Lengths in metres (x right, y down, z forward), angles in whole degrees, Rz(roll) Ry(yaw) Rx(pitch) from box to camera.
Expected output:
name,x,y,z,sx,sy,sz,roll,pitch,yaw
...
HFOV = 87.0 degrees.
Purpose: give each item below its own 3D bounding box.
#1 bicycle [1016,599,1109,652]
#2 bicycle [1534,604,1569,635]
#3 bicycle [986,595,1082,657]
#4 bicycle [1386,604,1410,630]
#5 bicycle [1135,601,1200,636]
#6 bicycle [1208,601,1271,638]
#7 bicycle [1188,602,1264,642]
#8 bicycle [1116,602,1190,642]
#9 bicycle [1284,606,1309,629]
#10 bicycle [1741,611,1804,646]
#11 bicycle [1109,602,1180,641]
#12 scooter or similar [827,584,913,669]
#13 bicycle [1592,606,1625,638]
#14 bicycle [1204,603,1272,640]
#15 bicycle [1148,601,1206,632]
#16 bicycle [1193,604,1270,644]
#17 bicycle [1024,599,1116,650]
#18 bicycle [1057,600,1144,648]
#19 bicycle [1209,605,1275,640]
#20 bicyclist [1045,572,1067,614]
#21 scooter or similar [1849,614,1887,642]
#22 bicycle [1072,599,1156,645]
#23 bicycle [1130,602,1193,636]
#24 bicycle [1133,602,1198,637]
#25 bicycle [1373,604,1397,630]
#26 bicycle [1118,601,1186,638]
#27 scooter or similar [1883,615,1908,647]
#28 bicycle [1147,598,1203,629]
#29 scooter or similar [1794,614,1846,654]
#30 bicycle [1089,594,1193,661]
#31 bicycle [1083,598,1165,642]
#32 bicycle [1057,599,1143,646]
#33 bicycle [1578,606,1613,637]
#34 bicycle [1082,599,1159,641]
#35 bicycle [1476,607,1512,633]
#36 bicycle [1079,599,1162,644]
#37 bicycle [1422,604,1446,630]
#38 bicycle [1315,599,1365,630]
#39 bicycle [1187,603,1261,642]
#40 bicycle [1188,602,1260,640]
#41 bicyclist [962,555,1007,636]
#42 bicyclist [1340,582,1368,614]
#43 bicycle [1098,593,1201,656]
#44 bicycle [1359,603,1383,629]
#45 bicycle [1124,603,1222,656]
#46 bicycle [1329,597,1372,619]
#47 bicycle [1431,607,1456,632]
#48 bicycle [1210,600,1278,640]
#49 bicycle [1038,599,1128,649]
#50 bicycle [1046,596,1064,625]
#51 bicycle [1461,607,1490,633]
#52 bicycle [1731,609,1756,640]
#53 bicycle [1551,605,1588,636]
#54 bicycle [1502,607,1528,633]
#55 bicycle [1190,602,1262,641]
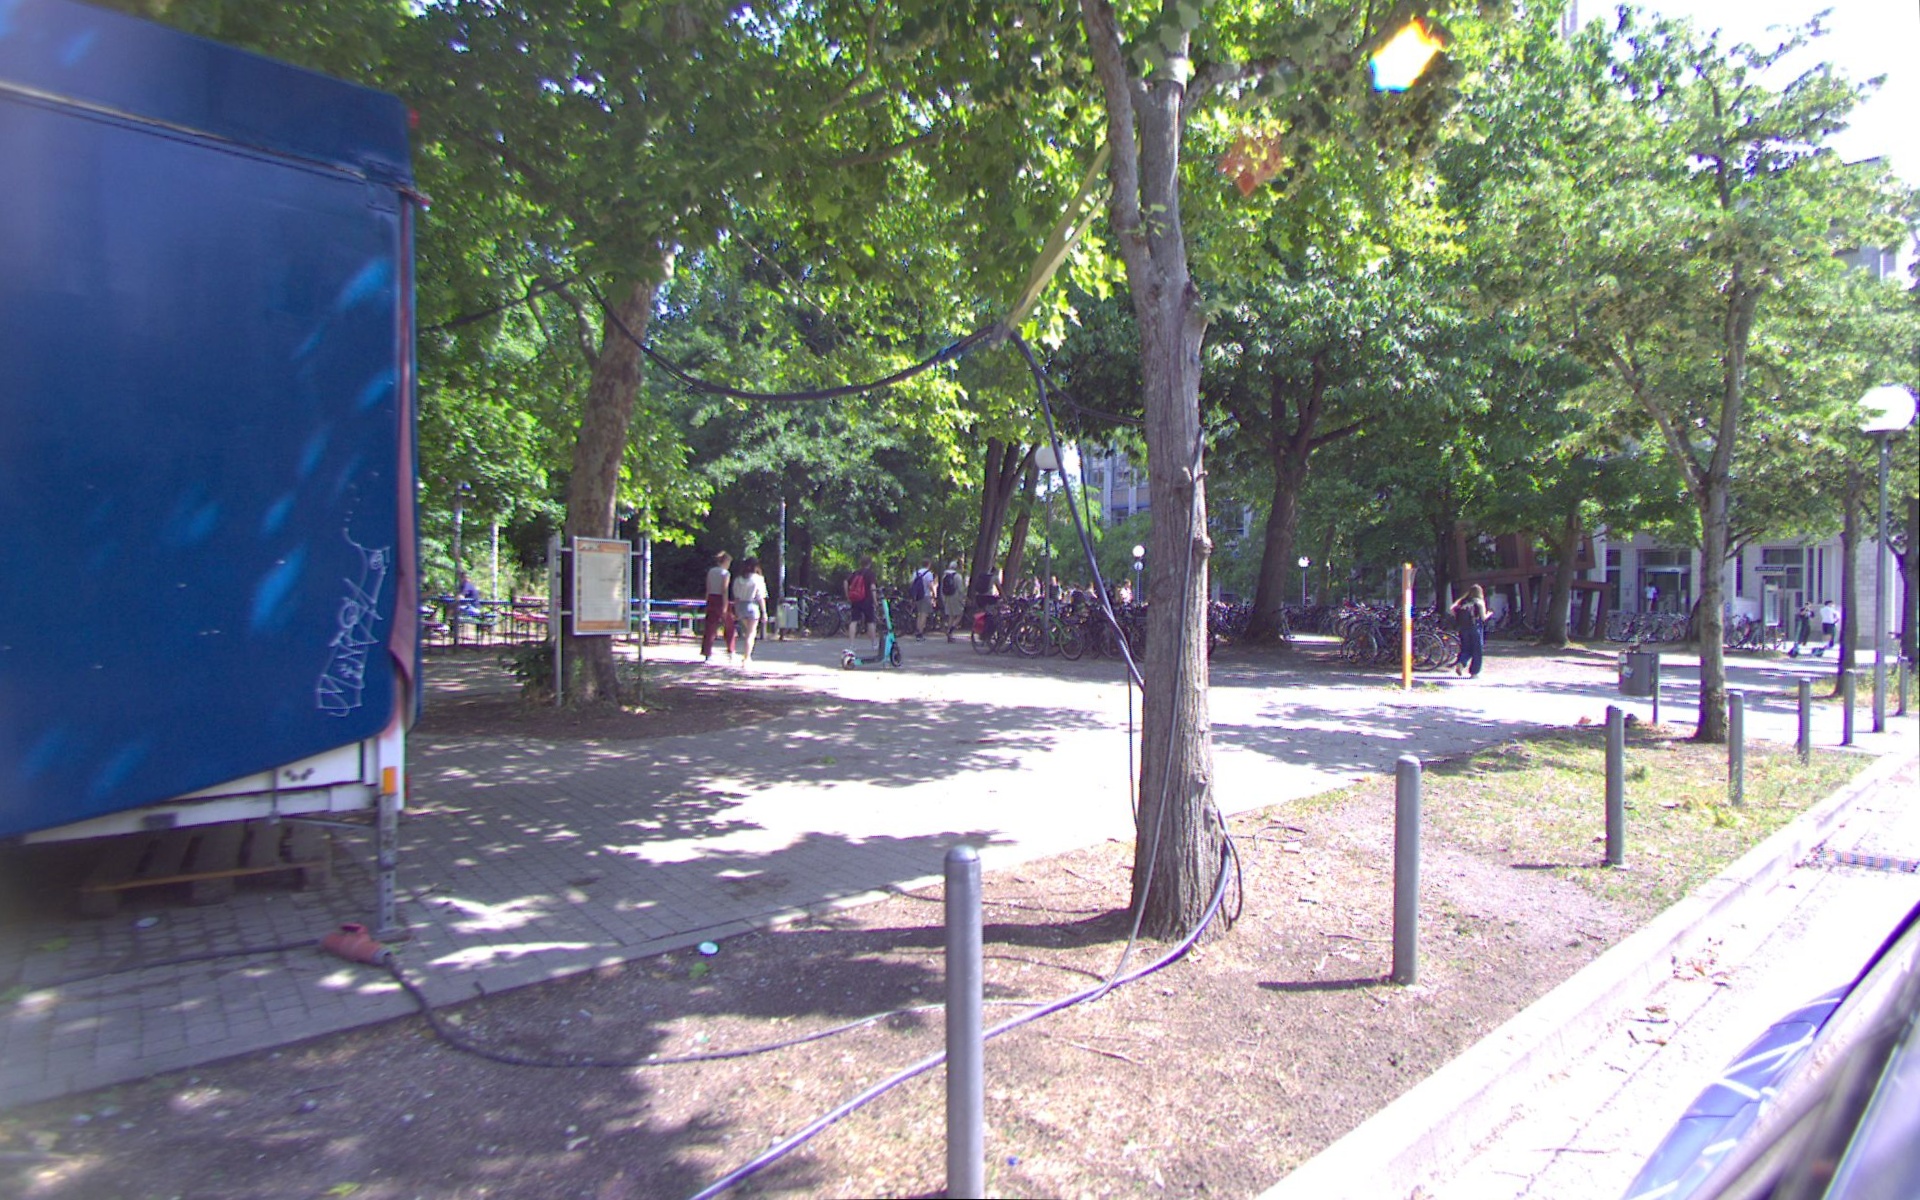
name,x,y,z,sx,sy,sz,roll,pitch,yaw
bicycle,2.116,0.514,20.981,1.888,0.991,0.473,2,1,30
bicycle,23.907,0.806,40.885,1.666,1.165,0.627,3,0,-40
bicycle,1.468,0.503,20.353,1.888,1.157,0.473,2,1,30
bicycle,19.730,0.776,45.574,0.453,1.144,1.661,-3,-4,43
bicycle,6.265,0.558,30.597,1.873,0.991,0.377,2,1,10
bicycle,8.793,0.601,31.877,1.875,1.096,0.477,2,1,13
bicycle,7.126,0.576,27.128,1.868,0.991,0.478,2,1,1
bicycle,5.143,0.570,26.992,1.879,0.991,0.475,2,1,19
bicycle,16.386,0.853,49.301,0.477,1.098,1.661,-3,-4,44
bicycle,27.938,0.980,34.816,1.749,1.155,0.607,2,1,-8
bicycle,5.106,0.578,28.037,1.884,0.991,0.438,2,1,26
scooter or similar,-1.342,0.378,15.179,1.272,1.234,0.425,0,0,-41
bicycle,25.175,0.856,39.267,1.664,1.139,0.482,3,0,-36
bicycle,8.083,0.621,29.434,1.879,0.991,0.475,2,1,19
bicycle,7.392,0.561,34.431,1.879,0.991,0.376,2,1,19
bicycle,7.116,0.620,26.552,1.868,0.991,0.478,2,1,1
bicycle,2.341,0.510,21.596,1.881,0.991,0.418,2,1,22
bicycle,3.138,0.526,22.683,1.886,0.991,0.417,2,1,28
bicycle,8.541,0.669,30.701,1.873,0.991,0.477,2,1,10
bicyclist,3.465,-0.251,36.514,0.732,1.465,0.802,2,-1,6
scooter or similar,41.931,1.286,46.749,0.555,1.226,1.507,0,1,8
bicycle,3.601,0.498,23.720,1.885,0.991,0.474,2,1,27
bicycle,6.226,0.578,31.366,1.873,0.991,0.477,2,1,11
bicycle,6.130,0.574,30.203,1.873,0.991,0.377,2,1,10
bicycle,19.311,0.792,45.982,0.453,1.144,1.661,-3,-4,43
bicycle,5.511,0.552,29.095,1.873,0.991,0.477,2,1,10
scooter or similar,37.354,1.229,40.393,1.485,1.226,0.564,1,2,-43
bicycle,7.564,0.467,35.624,1.879,0.991,0.376,2,1,19
scooter or similar,25.544,0.999,30.056,1.333,1.128,0.498,3,-1,-16
bicycle,3.353,0.492,18.775,1.792,1.132,0.607,2,1,28
bicycle,4.051,0.486,25.002,1.886,0.991,0.607,2,1,28
bicycle,3.195,0.499,23.171,1.886,0.991,0.417,2,1,28
bicycle,24.966,0.840,39.756,1.664,1.139,0.566,3,0,-36
bicycle,4.131,0.514,26.064,1.877,0.991,0.534,2,1,16
bicycle,22.387,0.851,42.413,1.663,1.061,0.618,2,-3,-33
bicycle,3.799,0.496,24.037,1.885,0.991,0.474,2,1,27
bicycle,20.897,0.760,44.618,0.453,1.144,1.661,-3,-4,43
bicycle,15.185,0.563,40.451,1.818,1.185,0.434,1,0,14
bicycle,7.221,0.615,27.733,1.872,0.991,0.477,2,1,9
bicycle,7.457,0.592,28.635,1.872,0.991,0.477,2,1,8
bicyclist,0.569,-0.108,22.761,0.526,1.751,1.068,3,1,28
bicyclist,20.410,-0.091,52.454,0.823,1.562,0.959,5,-1,-40
bicycle,3.711,0.467,19.885,1.886,1.132,0.607,2,1,28
bicycle,18.803,0.752,46.289,0.453,1.144,1.661,-3,-4,43
bicycle,4.388,0.582,20.887,1.886,0.991,0.607,2,1,28
bicycle,20.293,0.387,52.550,0.804,1.054,1.929,-3,3,-39
bicycle,20.964,0.847,43.868,0.499,1.061,1.661,-3,-4,43
bicycle,8.392,0.588,29.963,1.875,1.096,0.477,2,1,13
bicycle,2.681,0.514,22.149,1.884,0.991,0.474,2,1,25
bicycle,3.430,0.374,36.547,0.576,0.943,1.750,3,2,6
bicycle,21.898,0.845,42.964,0.615,1.061,1.661,-3,-4,43
bicycle,32.854,1.020,42.426,1.798,1.257,0.531,0,1,-42
bicycle,24.230,0.819,40.223,1.664,1.139,0.628,3,0,-36
bicycle,22.942,0.832,41.823,0.566,1.061,1.671,-2,-4,41
bicycle,7.405,0.594,28.238,1.872,0.991,0.477,2,1,8
